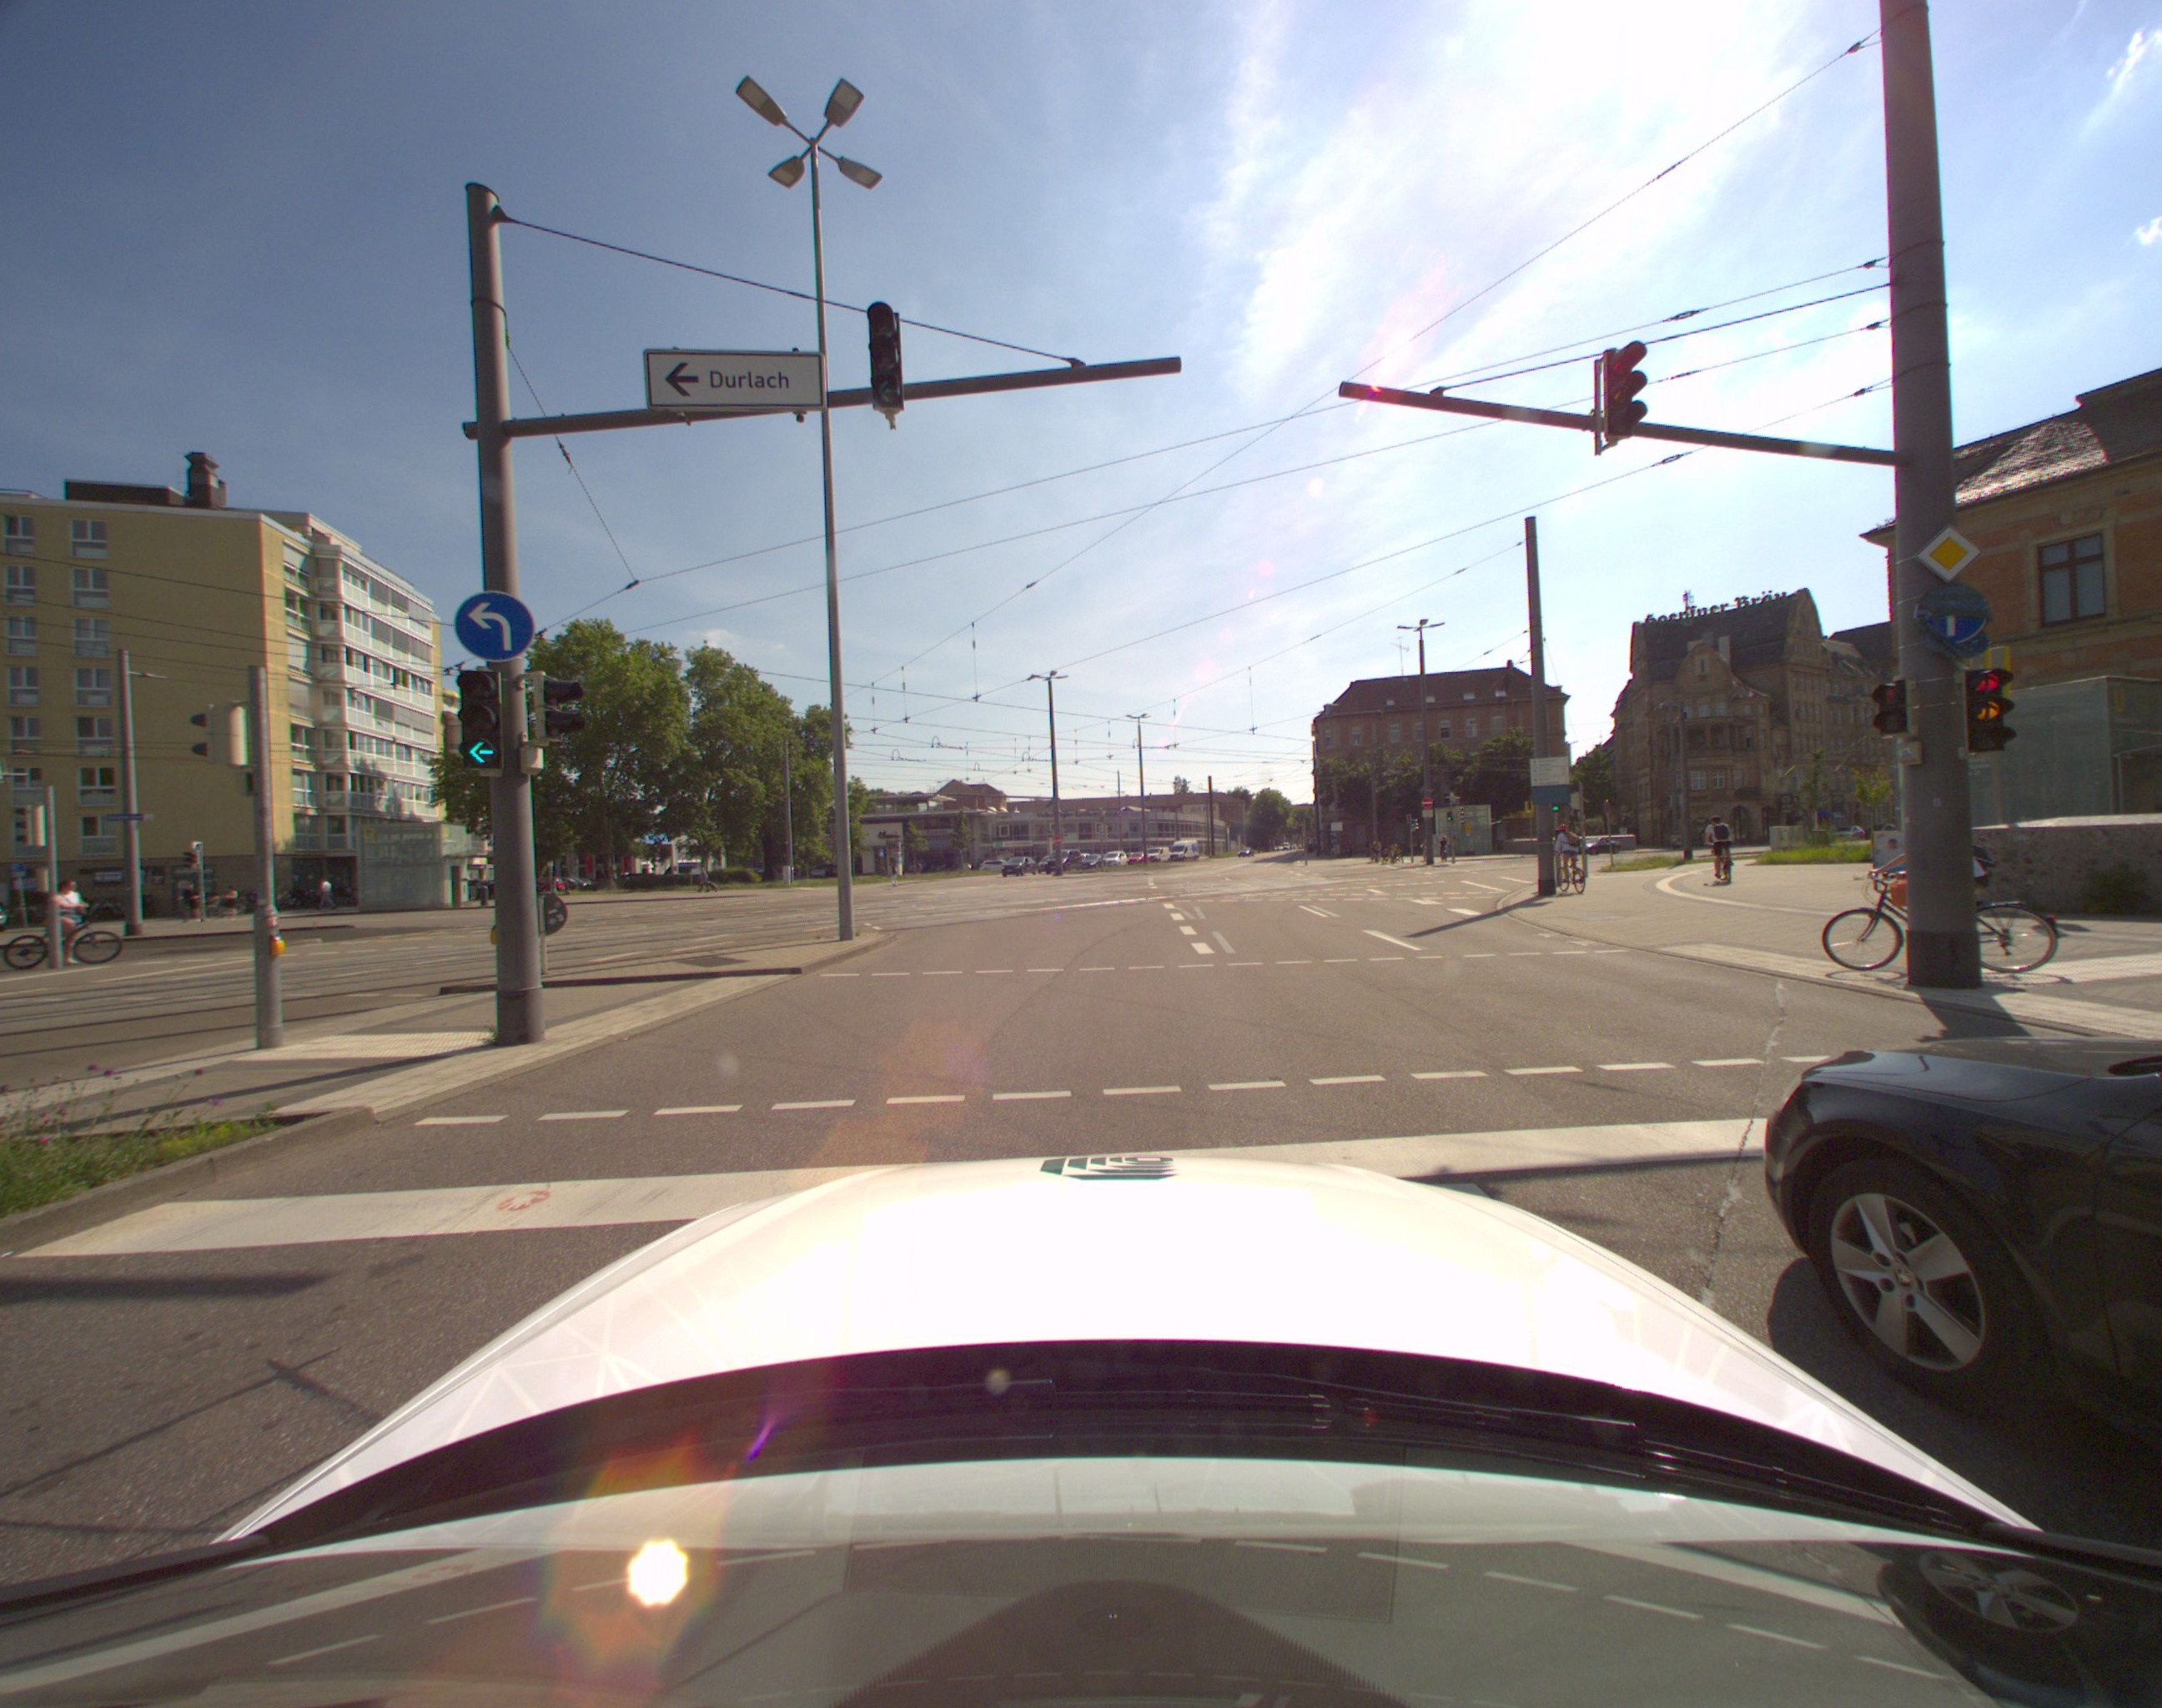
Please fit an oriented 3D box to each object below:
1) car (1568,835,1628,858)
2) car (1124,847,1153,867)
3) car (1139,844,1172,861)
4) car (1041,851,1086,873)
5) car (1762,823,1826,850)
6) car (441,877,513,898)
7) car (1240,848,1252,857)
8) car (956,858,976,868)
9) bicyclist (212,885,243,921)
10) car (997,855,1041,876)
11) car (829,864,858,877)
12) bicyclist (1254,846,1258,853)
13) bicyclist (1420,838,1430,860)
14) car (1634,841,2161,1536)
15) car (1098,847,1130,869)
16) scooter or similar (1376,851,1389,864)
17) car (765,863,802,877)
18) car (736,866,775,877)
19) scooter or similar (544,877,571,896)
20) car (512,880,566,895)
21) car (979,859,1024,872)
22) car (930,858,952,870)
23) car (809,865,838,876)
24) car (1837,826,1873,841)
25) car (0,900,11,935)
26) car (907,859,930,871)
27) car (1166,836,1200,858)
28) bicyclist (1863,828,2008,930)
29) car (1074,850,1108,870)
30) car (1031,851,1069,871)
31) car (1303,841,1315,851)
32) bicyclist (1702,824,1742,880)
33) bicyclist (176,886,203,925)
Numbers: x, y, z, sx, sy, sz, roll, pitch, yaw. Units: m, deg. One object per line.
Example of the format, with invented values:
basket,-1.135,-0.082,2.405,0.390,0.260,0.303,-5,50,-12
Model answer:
car,39.050,-0.551,61.530,3.998,1.584,1.628,-2,0,-19
car,6.069,0.332,85.219,1.879,1.917,4.220,-3,-1,19
car,8.493,-0.206,92.224,2.165,1.680,5.058,-3,0,24
car,-1.345,0.586,64.633,1.945,1.587,4.739,-2,0,19
car,39.094,-0.955,44.635,3.464,1.313,1.655,-3,0,-32
car,-46.490,2.557,62.765,3.994,1.440,1.881,0,-1,-15
car,25.560,-0.253,125.914,1.372,1.414,3.028,-1,-1,21
car,-14.180,1.104,100.333,1.824,1.195,4.000,0,0,1
bicyclist,-39.339,2.263,37.531,0.728,1.572,0.613,-3,-1,2
car,-4.809,0.894,64.098,1.876,1.588,4.230,-3,-1,19
car,-29.710,2.047,101.941,1.983,1.684,4.008,-1,-1,7
bicyclist,38.904,-0.967,181.271,0.746,1.568,1.091,-1,-1,16
bicyclist,25.912,-0.366,61.330,0.497,1.621,0.651,0,0,7
car,3.032,0.671,0.884,1.625,1.435,4.779,-1,-1,0
car,3.212,0.383,78.382,1.879,1.917,4.220,-3,-1,19
scooter or similar,21.778,0.254,58.776,0.584,0.976,0.992,0,-1,2
car,-38.664,2.037,105.750,3.974,1.552,2.000,-2,0,0
car,-41.057,2.195,102.759,3.973,1.371,2.000,0,0,1
scooter or similar,-32.142,2.004,50.030,1.351,1.119,0.519,-2,0,11
car,-49.765,3.064,74.782,3.729,1.340,1.735,0,-1,-15
car,-8.566,1.240,87.648,4.550,1.436,1.450,-1,-1,15
car,-17.341,1.254,100.795,1.987,1.486,4.000,0,0,0
car,-32.073,2.018,101.602,1.983,1.244,4.008,-1,0,7
car,77.724,-2.104,81.824,3.594,1.345,1.623,-2,0,-30
car,-49.304,2.921,36.306,3.948,1.440,1.825,-5,-3,35
car,-20.113,1.331,100.887,1.987,1.486,4.000,0,0,0
car,12.502,-0.817,99.387,2.188,2.575,5.910,-1,-1,28
bicyclist,9.304,0.270,8.918,0.904,1.029,0.721,-5,-1,35
car,0.933,0.554,71.137,1.880,1.588,4.017,-3,-1,16
car,-2.635,0.620,70.868,1.879,1.588,4.019,-3,-1,19
car,46.077,-1.656,164.585,2.092,2.013,4.017,-2,0,16
bicyclist,17.549,-0.058,22.294,0.955,1.488,0.708,0,-1,-43
bicyclist,-40.823,2.344,37.307,0.584,1.735,0.613,-3,-1,-22
